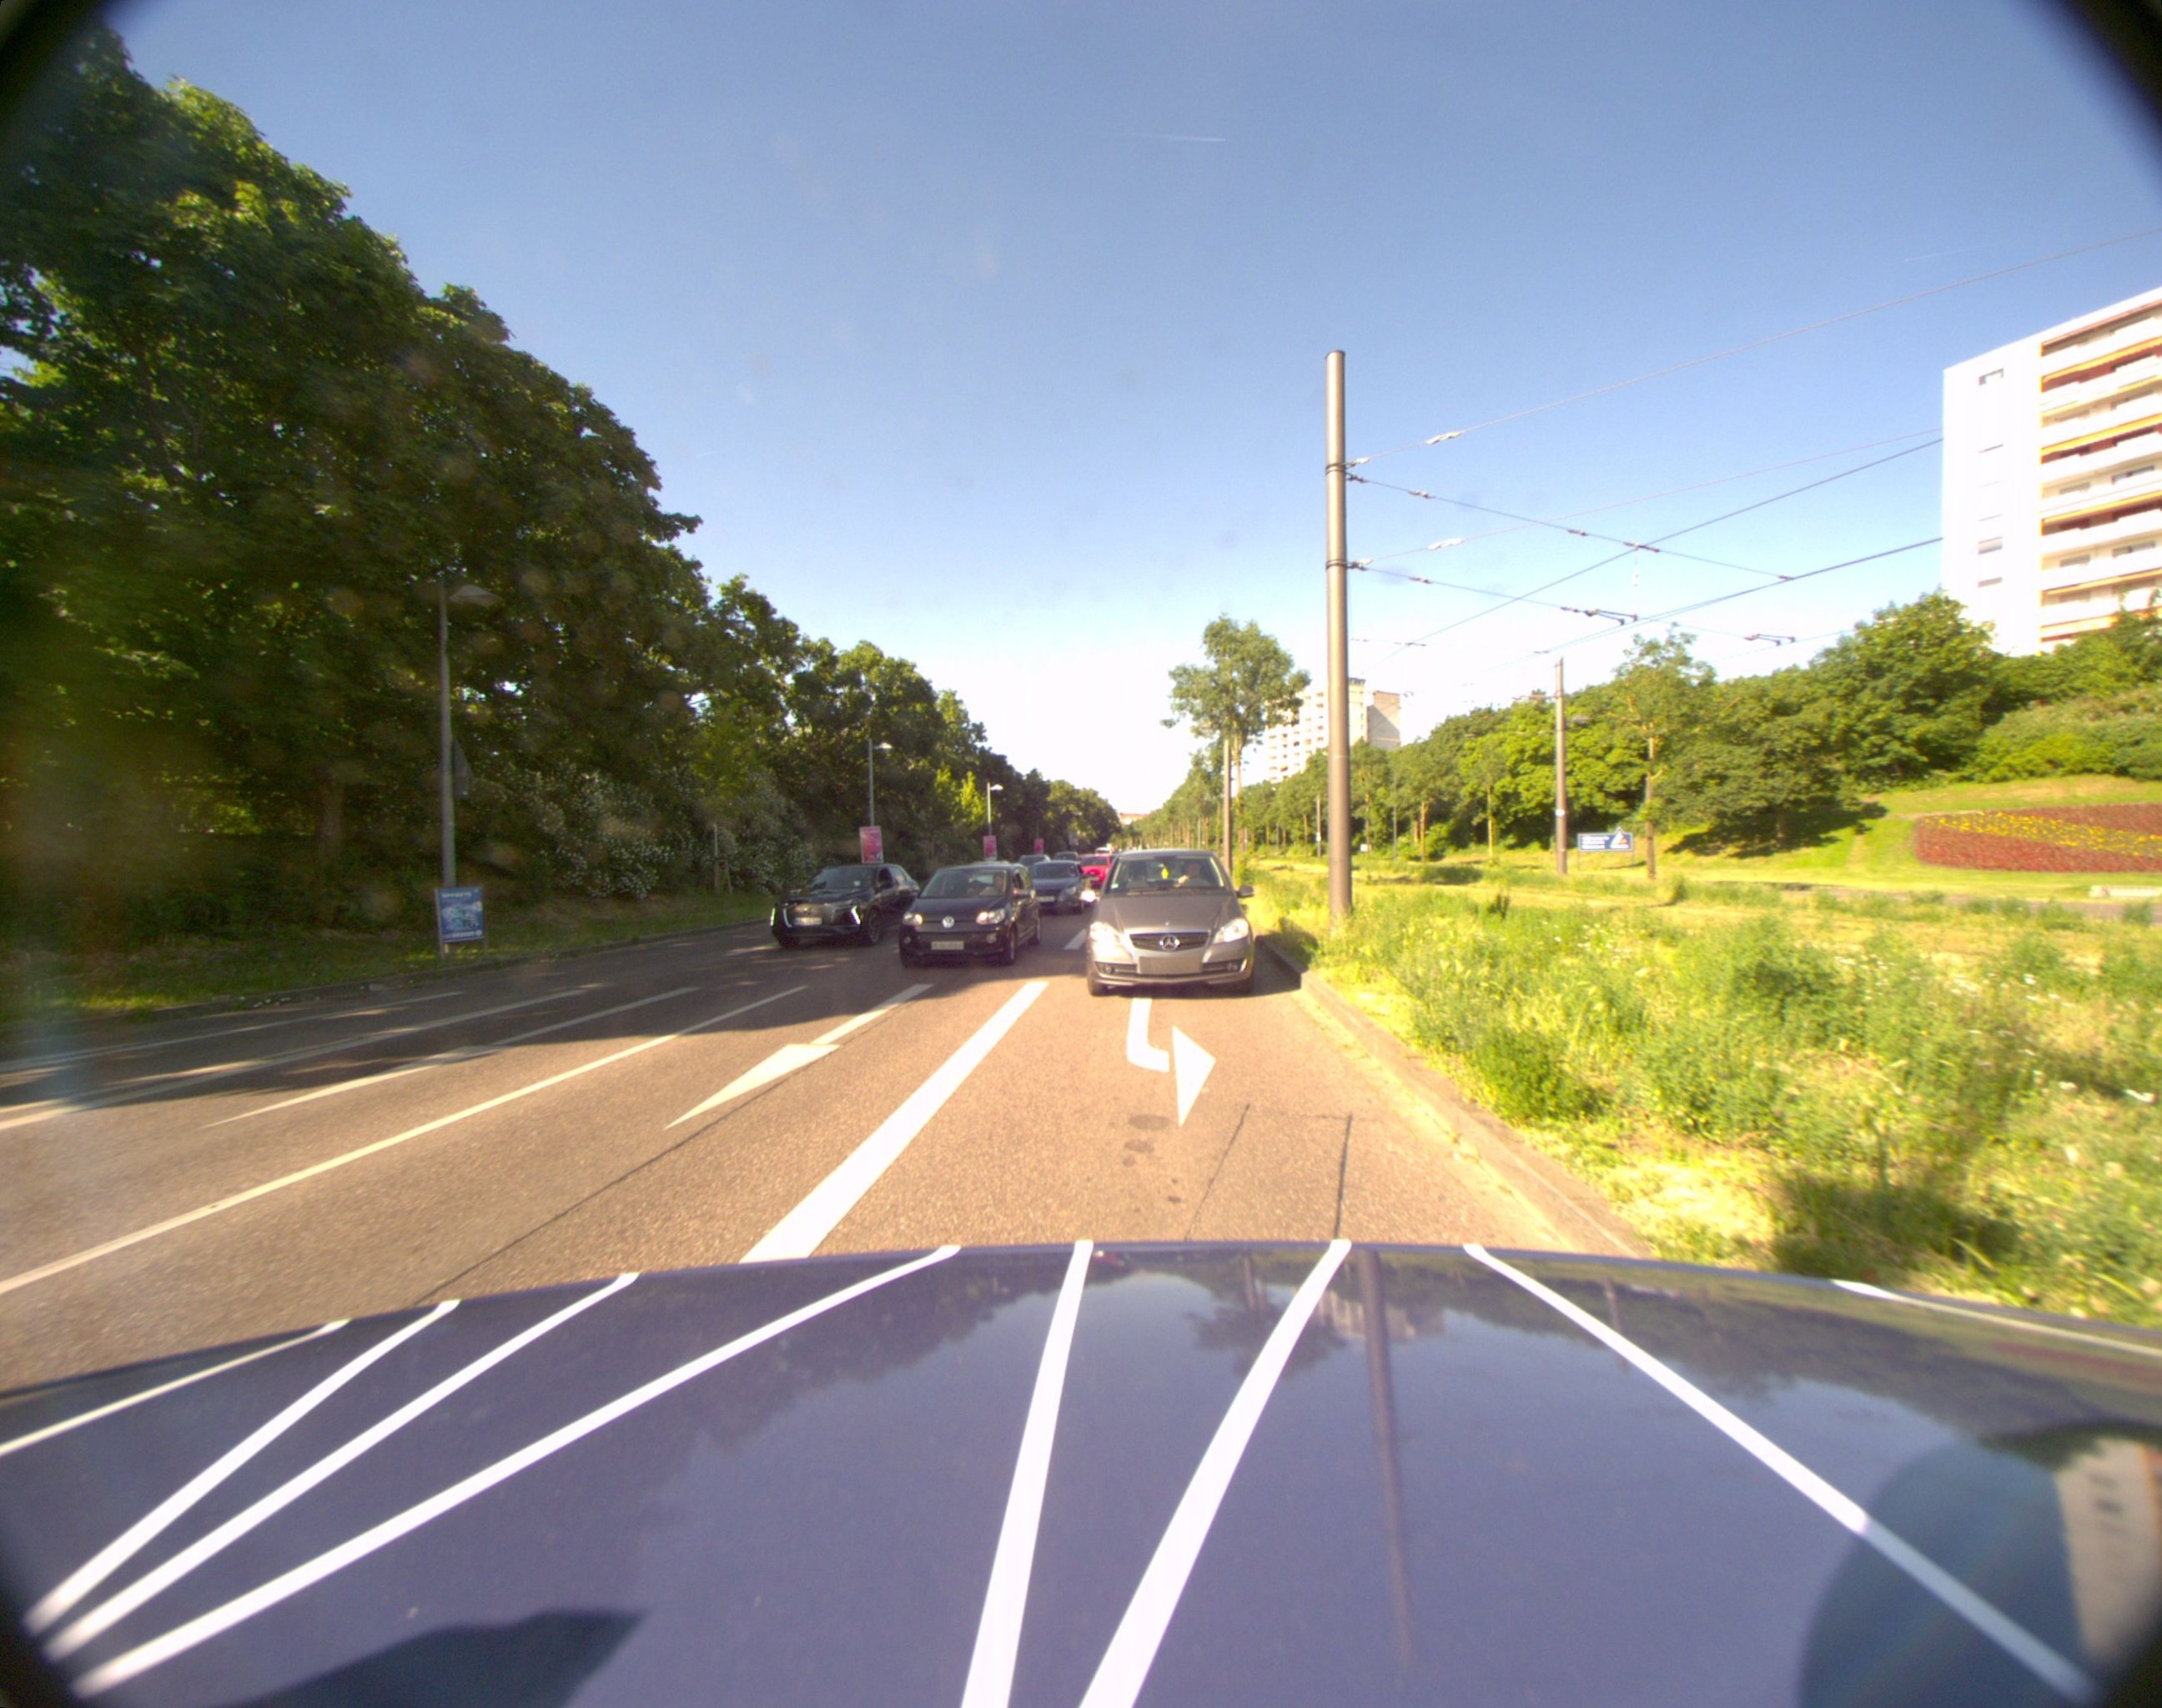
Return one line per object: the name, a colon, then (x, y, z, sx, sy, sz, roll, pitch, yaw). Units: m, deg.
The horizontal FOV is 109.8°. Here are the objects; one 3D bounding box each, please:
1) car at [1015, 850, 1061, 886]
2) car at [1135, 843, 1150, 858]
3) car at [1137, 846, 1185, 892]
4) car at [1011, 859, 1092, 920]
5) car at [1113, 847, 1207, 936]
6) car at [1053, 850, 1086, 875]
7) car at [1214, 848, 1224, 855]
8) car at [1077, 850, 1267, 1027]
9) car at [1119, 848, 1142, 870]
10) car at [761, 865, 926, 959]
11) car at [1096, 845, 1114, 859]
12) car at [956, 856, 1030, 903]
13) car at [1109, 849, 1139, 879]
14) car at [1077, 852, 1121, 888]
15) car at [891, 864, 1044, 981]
car: (-2.064, 0.648, 37.566, 1.748, 1.652, 4.001, -1, 0, 4)
car: (6.797, -0.391, 84.152, 1.630, 1.556, 3.813, -2, 1, 4)
car: (3.125, 0.547, 30.283, 1.748, 1.652, 4.001, -1, 0, 4)
car: (-0.709, 0.901, 21.133, 1.713, 1.430, 4.172, -2, 1, 5)
car: (1.692, 0.709, 16.788, 1.748, 1.652, 4.001, -2, 1, 4)
car: (-0.688, 0.511, 48.147, 1.713, 1.485, 3.964, -2, 1, 5)
car: (29.610, -0.475, 163.154, 1.577, 1.412, 3.910, -2, 0, 5)
car: (1.020, 0.806, 9.237, 1.748, 1.631, 4.001, -2, 0, 4)
car: (4.022, 0.353, 61.375, 1.748, 1.652, 4.001, -2, 1, 4)
car: (-4.504, 1.024, 15.071, 1.713, 1.485, 3.964, -2, 1, 5)
car: (2.660, -0.251, 82.534, 1.713, 1.485, 3.964, -2, 1, 5)
car: (-3.074, 0.866, 27.415, 1.748, 1.427, 4.387, -2, 1, 5)
car: (2.726, 0.591, 47.294, 1.748, 1.652, 4.001, -2, 1, 4)
car: (0.864, 0.674, 34.261, 1.684, 1.437, 3.728, -2, 1, 6)
car: (-1.624, 0.957, 11.993, 1.621, 1.485, 3.454, -2, 0, 4)
